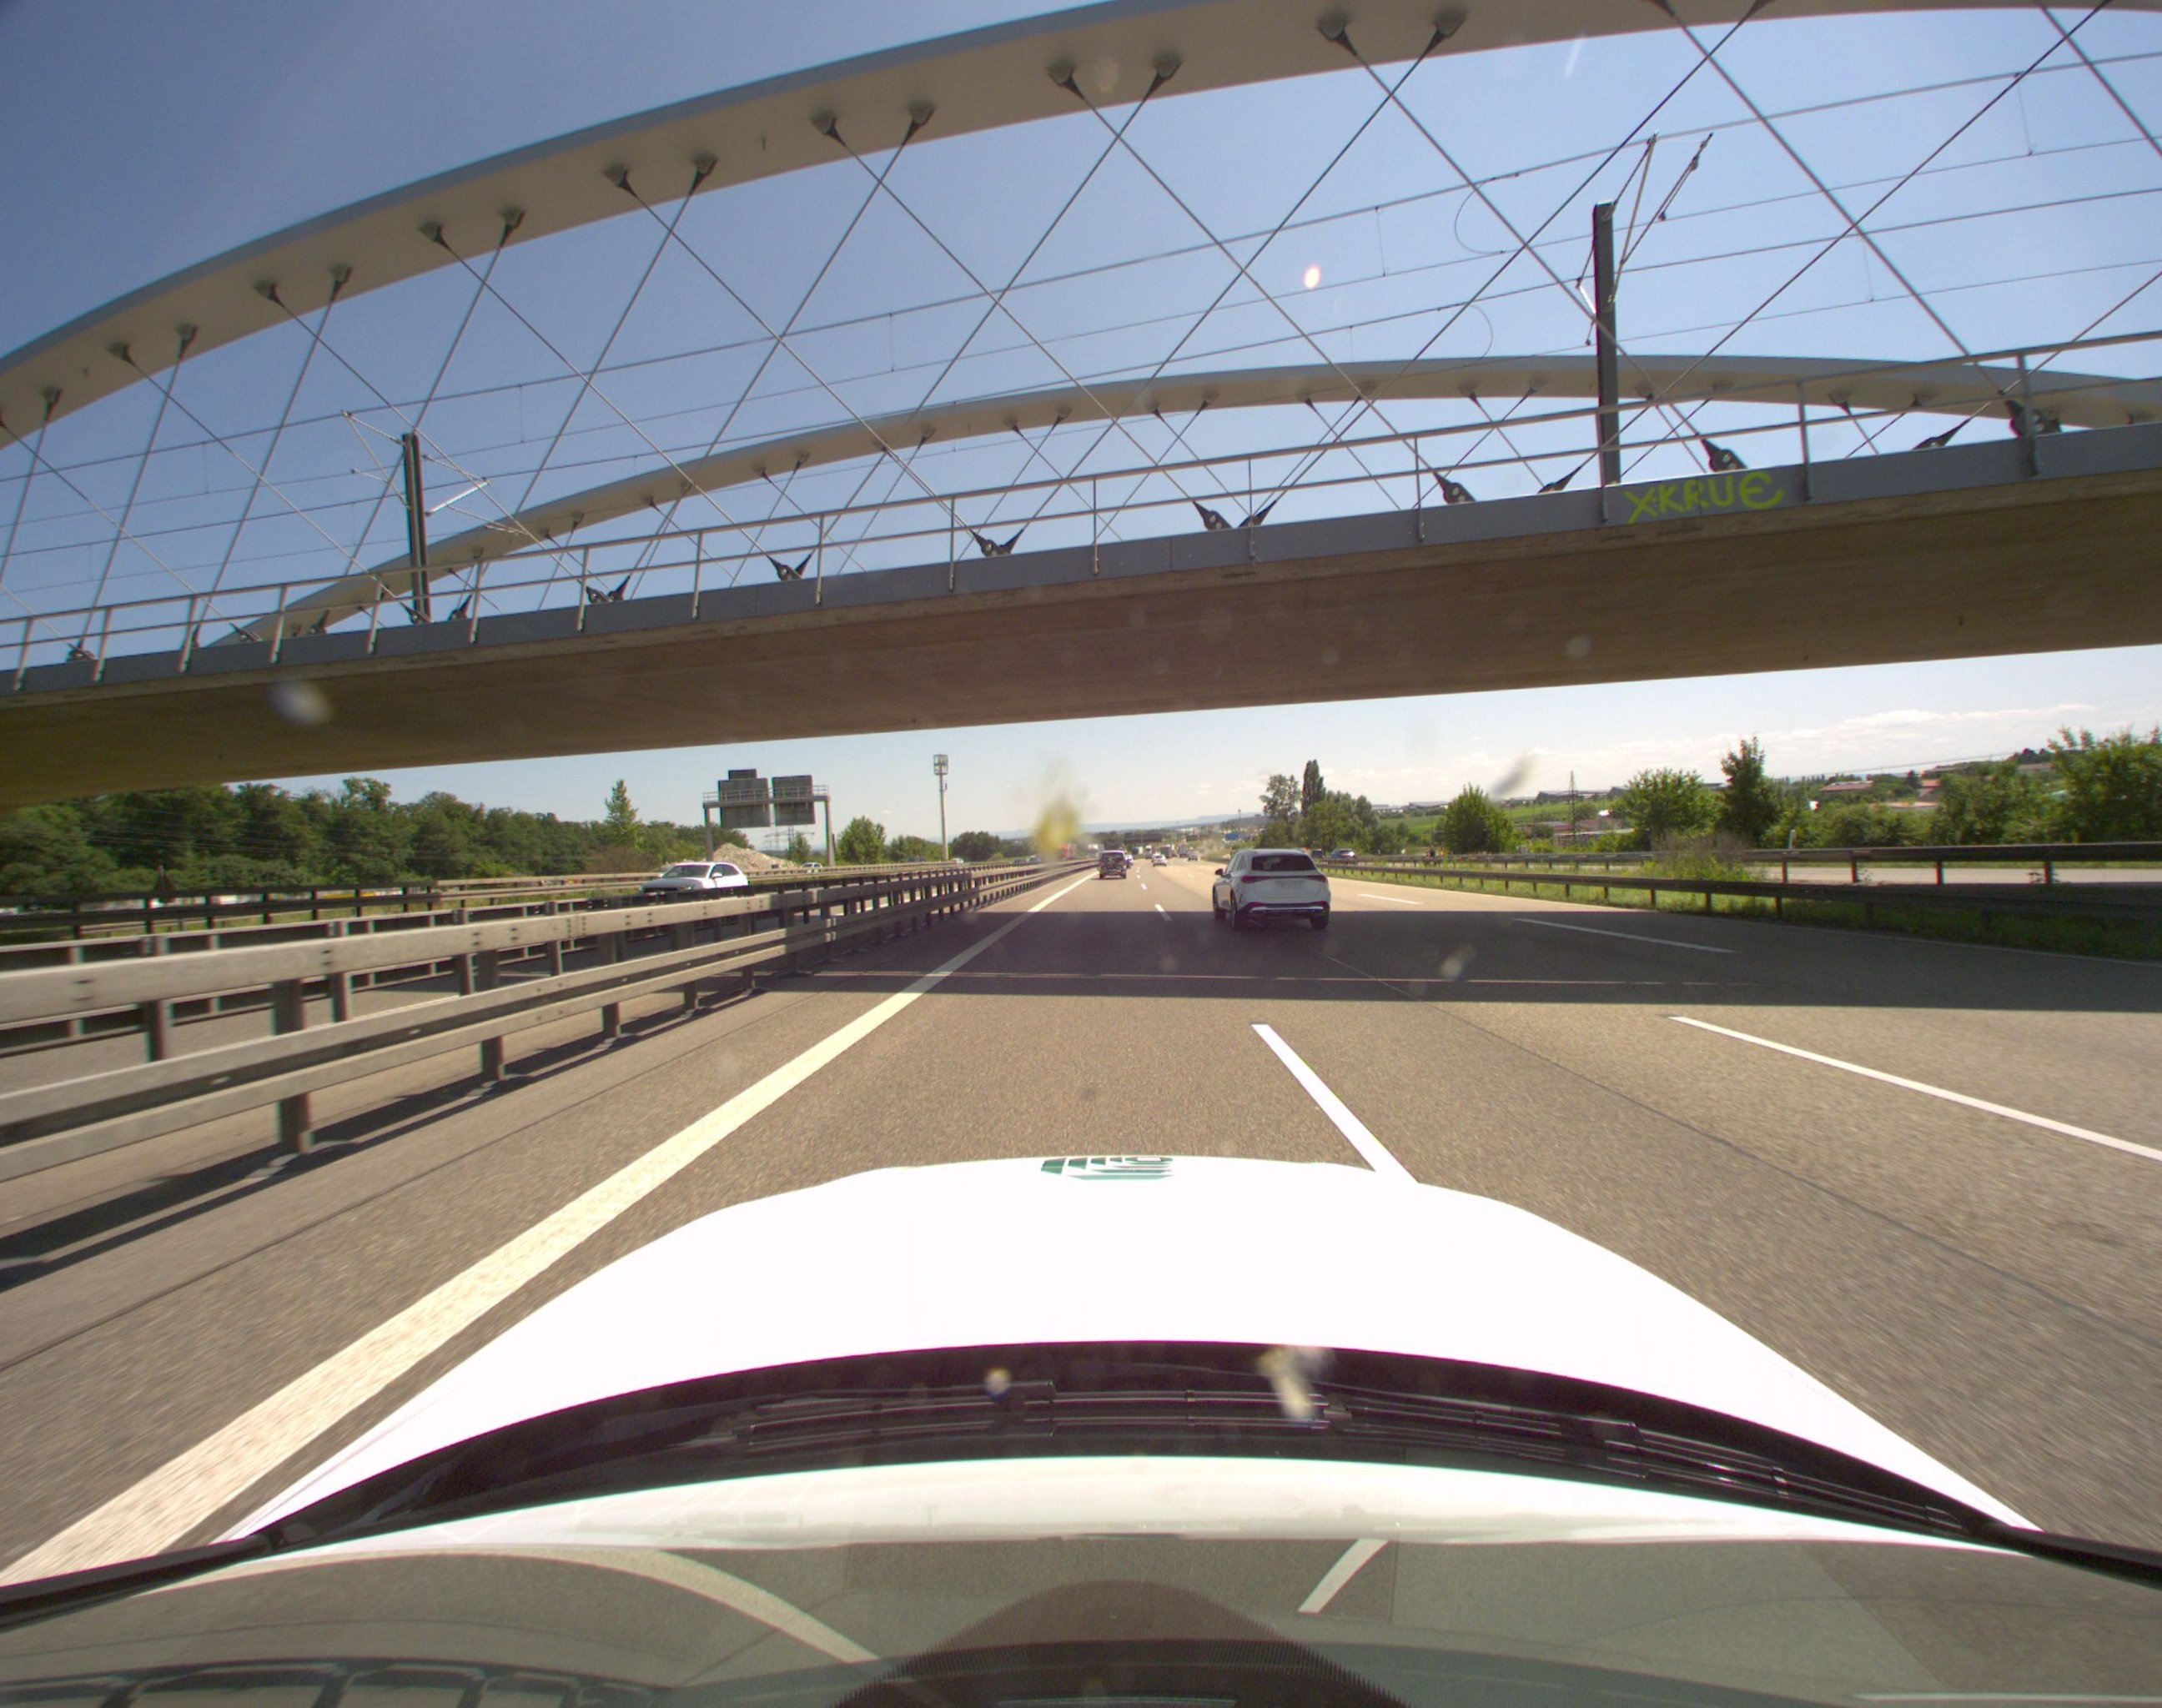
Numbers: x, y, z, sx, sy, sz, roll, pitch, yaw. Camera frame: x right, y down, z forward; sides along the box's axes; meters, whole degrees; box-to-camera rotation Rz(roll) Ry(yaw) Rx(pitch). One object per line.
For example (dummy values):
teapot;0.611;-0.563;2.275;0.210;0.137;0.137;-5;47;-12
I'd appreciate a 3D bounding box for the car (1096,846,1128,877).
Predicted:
car;2.089;0.469;53.465;1.918;1.919;4.953;-1;0;4

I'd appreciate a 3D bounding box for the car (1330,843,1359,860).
car;25.539;-0.227;79.001;1.692;1.575;4.133;-1;0;4

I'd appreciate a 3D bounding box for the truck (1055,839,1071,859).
truck;-3.910;-1.061;180.806;2.571;4.115;10.359;-1;0;4

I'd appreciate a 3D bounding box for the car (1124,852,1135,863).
car;6.905;0.465;115.948;1.569;1.552;3.969;-1;0;4

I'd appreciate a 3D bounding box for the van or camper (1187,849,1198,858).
van or camper;23.541;-0.090;171.887;2.145;2.013;4.312;-1;0;6

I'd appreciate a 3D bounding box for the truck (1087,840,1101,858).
truck;3.274;-1.208;202.644;2.912;4.344;6.929;-1;0;7

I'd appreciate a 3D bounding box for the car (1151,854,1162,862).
car;14.296;0.827;154.265;1.972;1.473;4.006;-1;0;5

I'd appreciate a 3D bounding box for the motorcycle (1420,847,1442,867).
motorcycle;24.569;0.218;57.225;0.757;1.366;1.870;-1;0;2

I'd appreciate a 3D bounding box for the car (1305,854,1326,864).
car;31.464;0.691;109.450;1.694;1.277;4.000;-1;0;0

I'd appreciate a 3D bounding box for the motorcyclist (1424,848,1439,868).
motorcyclist;24.570;0.262;57.151;0.666;1.366;0.879;-1;0;1

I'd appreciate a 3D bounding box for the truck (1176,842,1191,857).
truck;33.123;-1.452;262.772;4.014;4.261;11.793;-1;2;10

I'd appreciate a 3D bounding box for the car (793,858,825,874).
car;-30.038;1.324;90.146;1.985;1.618;4.004;-1;0;3

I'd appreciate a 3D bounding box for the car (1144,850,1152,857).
car;17.955;-0.147;217.695;2.176;2.003;4.005;-1;0;4

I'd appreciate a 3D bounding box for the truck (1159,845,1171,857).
truck;22.417;-0.730;216.548;2.688;3.108;10.681;-1;0;8

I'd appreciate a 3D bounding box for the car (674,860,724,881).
car;-32.876;1.382;70.212;1.985;1.618;4.327;-1;0;3

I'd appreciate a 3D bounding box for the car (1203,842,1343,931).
car;3.990;0.613;17.818;1.892;1.647;4.998;-1;0;0

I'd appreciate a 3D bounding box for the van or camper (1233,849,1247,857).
van or camper;41.666;-0.309;213.606;2.524;2.013;4.454;-1;0;-4

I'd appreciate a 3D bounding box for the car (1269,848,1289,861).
car;29.351;0.090;120.967;1.932;1.923;4.179;-1;0;0

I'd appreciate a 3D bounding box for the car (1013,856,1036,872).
car;-5.475;0.969;78.745;1.623;1.411;4.104;-1;0;4

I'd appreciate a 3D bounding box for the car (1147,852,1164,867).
car;9.485;0.715;103.921;1.919;1.919;4.520;-1;0;2

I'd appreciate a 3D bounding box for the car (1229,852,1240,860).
car;36.174;0.485;191.889;1.987;2.013;4.000;-1;0;1

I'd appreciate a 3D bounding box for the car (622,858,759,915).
car;-12.722;0.996;26.962;1.920;1.639;4.980;-1;0;3
